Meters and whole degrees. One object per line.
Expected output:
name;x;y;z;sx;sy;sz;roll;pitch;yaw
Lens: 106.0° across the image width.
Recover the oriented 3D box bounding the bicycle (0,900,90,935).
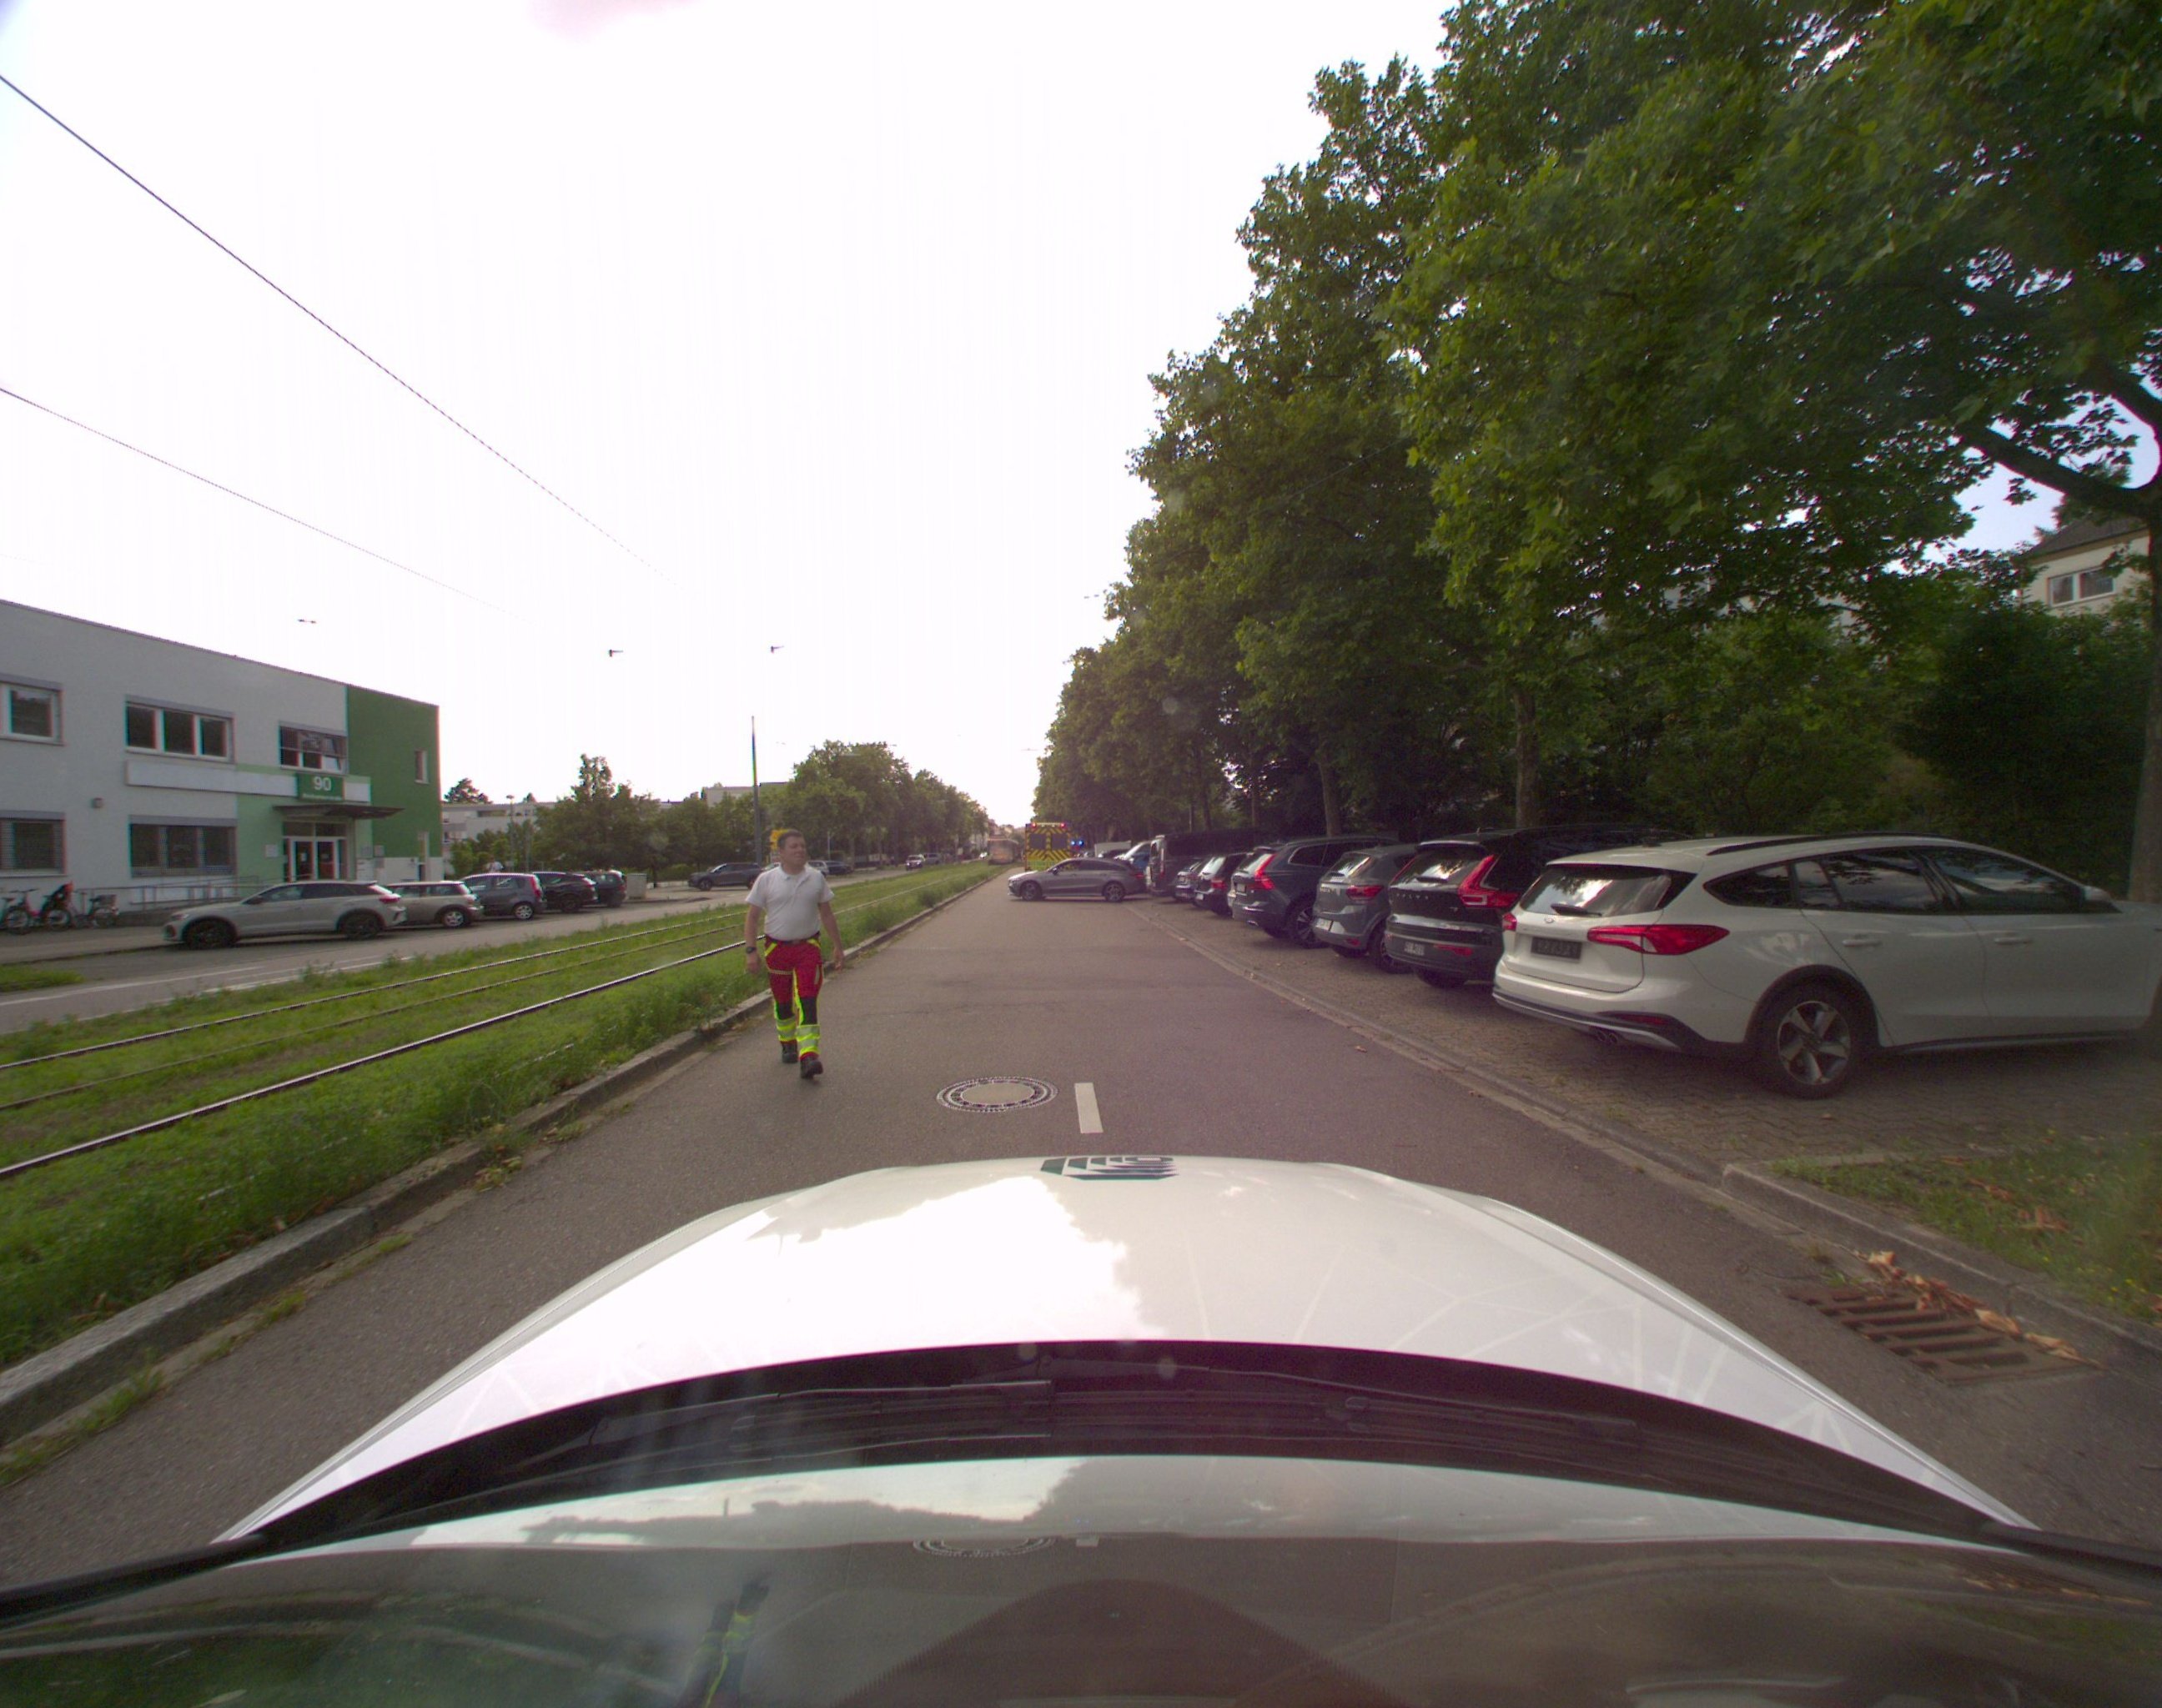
bicycle;-28.409;1.730;22.306;1.853;0.899;0.458;0;-1;-3

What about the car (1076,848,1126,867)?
car;1.860;0.319;78.116;4.541;1.608;1.851;-3;0;-7

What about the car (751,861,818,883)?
car;-21.805;1.298;60.015;4.256;1.482;1.862;-1;0;-39

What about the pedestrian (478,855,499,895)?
pedestrian;-27.683;0.992;38.051;0.545;1.828;0.508;-2;0;-5

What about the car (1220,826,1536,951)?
car;4.591;0.511;13.030;4.369;1.639;1.755;-3;0;-2

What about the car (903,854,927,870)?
car;-18.633;0.864;91.778;1.990;1.557;4.364;-3;0;-4

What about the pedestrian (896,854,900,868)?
pedestrian;-23.722;0.927;105.349;0.421;1.730;0.466;-2;0;-8

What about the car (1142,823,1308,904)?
car;4.259;0.272;24.553;4.536;2.123;1.853;-3;0;-4

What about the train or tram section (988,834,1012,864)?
train or tram section;-10.182;-0.595;103.341;2.506;3.584;7.436;-3;-1;-3

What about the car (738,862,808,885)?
car;-21.570;1.322;57.138;4.256;1.482;1.862;-1;0;-39

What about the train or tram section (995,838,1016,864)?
train or tram section;-10.952;-0.406;118.191;2.506;3.584;7.436;-3;-1;-3

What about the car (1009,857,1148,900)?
car;-0.031;0.784;27.143;4.430;1.385;1.770;0;0;6

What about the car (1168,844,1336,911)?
car;4.432;0.588;21.443;3.957;1.494;1.754;-3;0;-4

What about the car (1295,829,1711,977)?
car;5.152;0.556;10.343;4.369;1.501;1.755;-3;0;-2

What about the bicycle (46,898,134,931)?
bicycle;-28.409;1.735;23.364;1.853;0.899;0.458;0;-1;-3

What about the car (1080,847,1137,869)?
car;2.266;0.322;68.283;4.541;1.608;1.851;-3;0;-7

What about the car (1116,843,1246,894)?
car;3.757;0.538;31.026;4.542;1.660;1.851;-3;0;-8

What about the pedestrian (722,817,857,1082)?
pedestrian;-2.040;0.602;5.733;0.806;1.686;0.845;-1;0;-20

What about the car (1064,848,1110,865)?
car;0.621;0.240;86.284;4.541;1.608;1.851;-3;0;-7

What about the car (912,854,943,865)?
car;-25.546;0.958;135.625;4.653;1.633;1.860;-2;0;-42

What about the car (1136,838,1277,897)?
car;4.322;0.451;28.525;4.536;1.766;1.853;-3;0;-4

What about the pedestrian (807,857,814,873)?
pedestrian;-27.437;1.110;82.641;0.465;1.676;0.602;-2;0;-5

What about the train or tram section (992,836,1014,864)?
train or tram section;-10.571;-0.501;110.767;2.506;3.584;7.436;-3;-1;-3

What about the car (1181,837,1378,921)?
car;4.499;0.525;18.640;3.971;1.605;1.748;-3;0;-14

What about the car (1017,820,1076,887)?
car;-1.616;0.003;39.878;2.634;2.966;6.296;1;0;-1

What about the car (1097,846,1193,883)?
car;3.242;0.525;41.605;4.541;1.608;1.851;-3;0;-7

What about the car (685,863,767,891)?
car;-20.493;1.291;47.057;4.245;1.482;1.866;-1;0;-28

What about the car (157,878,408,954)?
car;-19.804;1.461;20.527;4.255;1.482;1.862;-3;0;-37

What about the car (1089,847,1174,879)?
car;2.850;0.502;46.743;4.541;1.608;1.851;-3;0;-7

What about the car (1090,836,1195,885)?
car;2.839;0.297;38.109;4.541;2.043;1.851;-3;0;-7

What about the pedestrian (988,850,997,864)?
pedestrian;-9.930;0.347;91.273;0.879;1.525;0.750;0;-1;-4

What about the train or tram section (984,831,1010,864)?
train or tram section;-9.786;-0.689;95.928;2.506;3.584;7.436;-3;-1;-3

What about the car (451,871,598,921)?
car;-20.052;1.453;29.590;4.250;1.482;1.864;-3;0;-32

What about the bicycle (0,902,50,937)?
bicycle;-28.379;1.718;21.407;1.853;0.899;0.458;0;-1;-3

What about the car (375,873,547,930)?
car;-19.985;1.486;26.514;4.250;1.482;1.864;-3;0;-32

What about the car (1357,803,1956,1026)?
car;5.307;0.470;7.837;4.654;1.626;1.843;-3;0;-7

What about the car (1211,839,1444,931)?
car;4.714;0.569;15.929;3.957;1.494;1.754;-3;0;-4

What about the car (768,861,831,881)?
car;-21.759;1.294;63.059;4.256;1.482;1.862;-1;0;-39

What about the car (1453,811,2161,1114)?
car;5.284;0.546;5.602;4.654;1.473;1.843;-3;0;-7

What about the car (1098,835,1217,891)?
car;3.105;0.361;33.527;4.541;2.000;1.851;-3;0;-7

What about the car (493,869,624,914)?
car;-20.757;1.432;32.519;4.250;1.482;1.864;-3;0;-32

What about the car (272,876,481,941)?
car;-20.049;1.491;23.462;4.250;1.482;1.864;-3;0;-32
